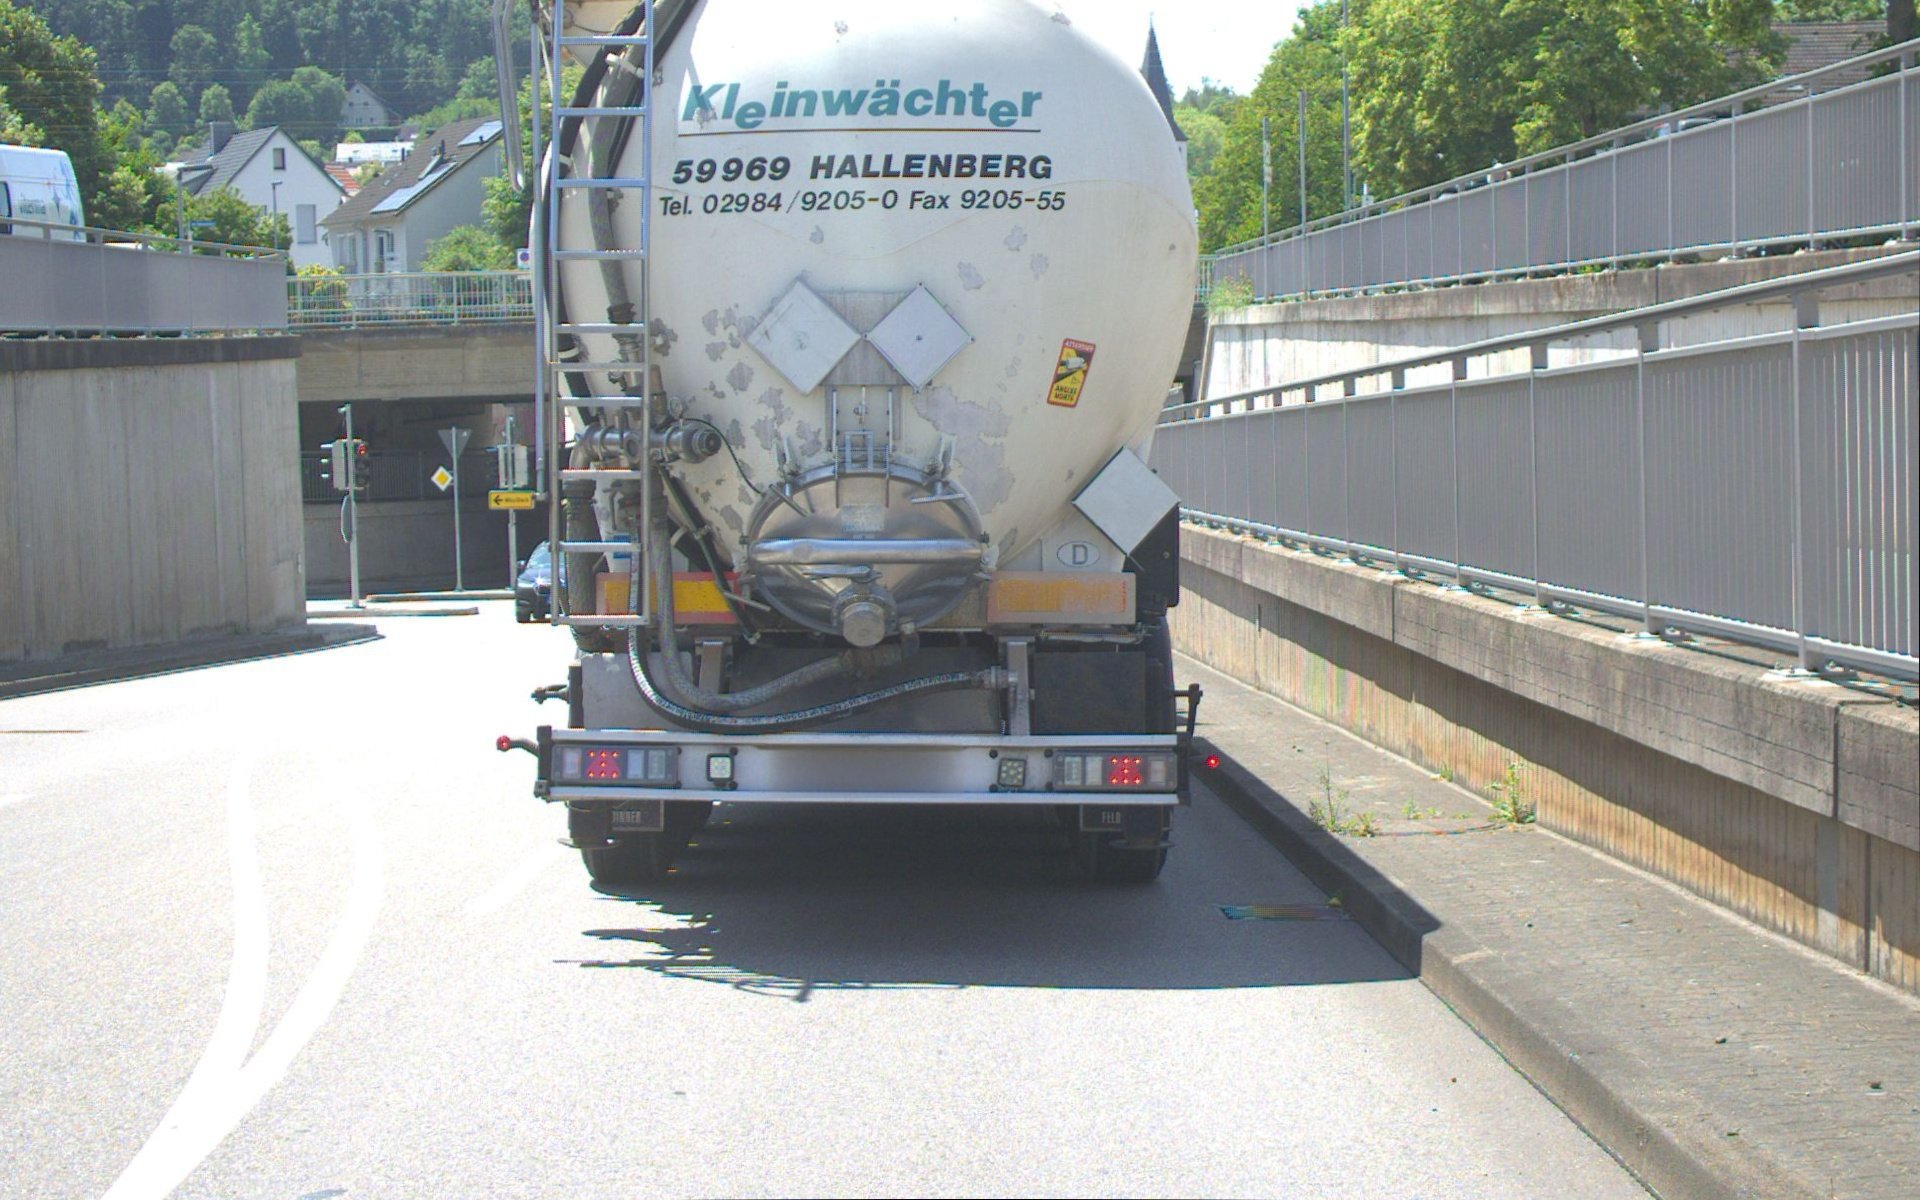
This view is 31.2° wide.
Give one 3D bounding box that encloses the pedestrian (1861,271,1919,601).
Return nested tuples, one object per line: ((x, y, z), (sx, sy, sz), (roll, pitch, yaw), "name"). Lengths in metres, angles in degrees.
((5.500, -0.904, 18.953), (0.836, 1.775, 0.788), (-1, 2, 0), "pedestrian")

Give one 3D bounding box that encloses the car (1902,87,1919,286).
((9.876, -3.371, 27.528), (4.204, 1.590, 1.686), (-1, 4, 1), "car")

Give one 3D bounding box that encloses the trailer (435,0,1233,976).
((-0.368, -0.874, 18.458), (2.735, 4.050, 13.313), (0, 1, 1), "trailer")

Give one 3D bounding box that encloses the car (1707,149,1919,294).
((9.701, -3.834, 34.811), (3.906, 1.362, 1.686), (-1, 4, 1), "car")

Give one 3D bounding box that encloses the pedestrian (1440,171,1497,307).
((6.781, -4.805, 45.861), (0.673, 1.773, 0.594), (-1, 4, 2), "pedestrian")

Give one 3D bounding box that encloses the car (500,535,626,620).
((-7.194, -0.445, 62.661), (1.760, 1.484, 4.369), (0, 1, 0), "car")

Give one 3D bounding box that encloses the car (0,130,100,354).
((-11.895, -4.175, 40.434), (2.065, 2.527, 5.663), (1, 4, 1), "car")

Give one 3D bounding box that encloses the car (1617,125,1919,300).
((9.697, -4.454, 39.671), (3.906, 1.878, 1.686), (-1, 4, 1), "car")

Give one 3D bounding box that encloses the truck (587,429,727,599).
((-7.076, -2.002, 80.987), (2.662, 3.847, 6.580), (0, 1, 0), "truck")
